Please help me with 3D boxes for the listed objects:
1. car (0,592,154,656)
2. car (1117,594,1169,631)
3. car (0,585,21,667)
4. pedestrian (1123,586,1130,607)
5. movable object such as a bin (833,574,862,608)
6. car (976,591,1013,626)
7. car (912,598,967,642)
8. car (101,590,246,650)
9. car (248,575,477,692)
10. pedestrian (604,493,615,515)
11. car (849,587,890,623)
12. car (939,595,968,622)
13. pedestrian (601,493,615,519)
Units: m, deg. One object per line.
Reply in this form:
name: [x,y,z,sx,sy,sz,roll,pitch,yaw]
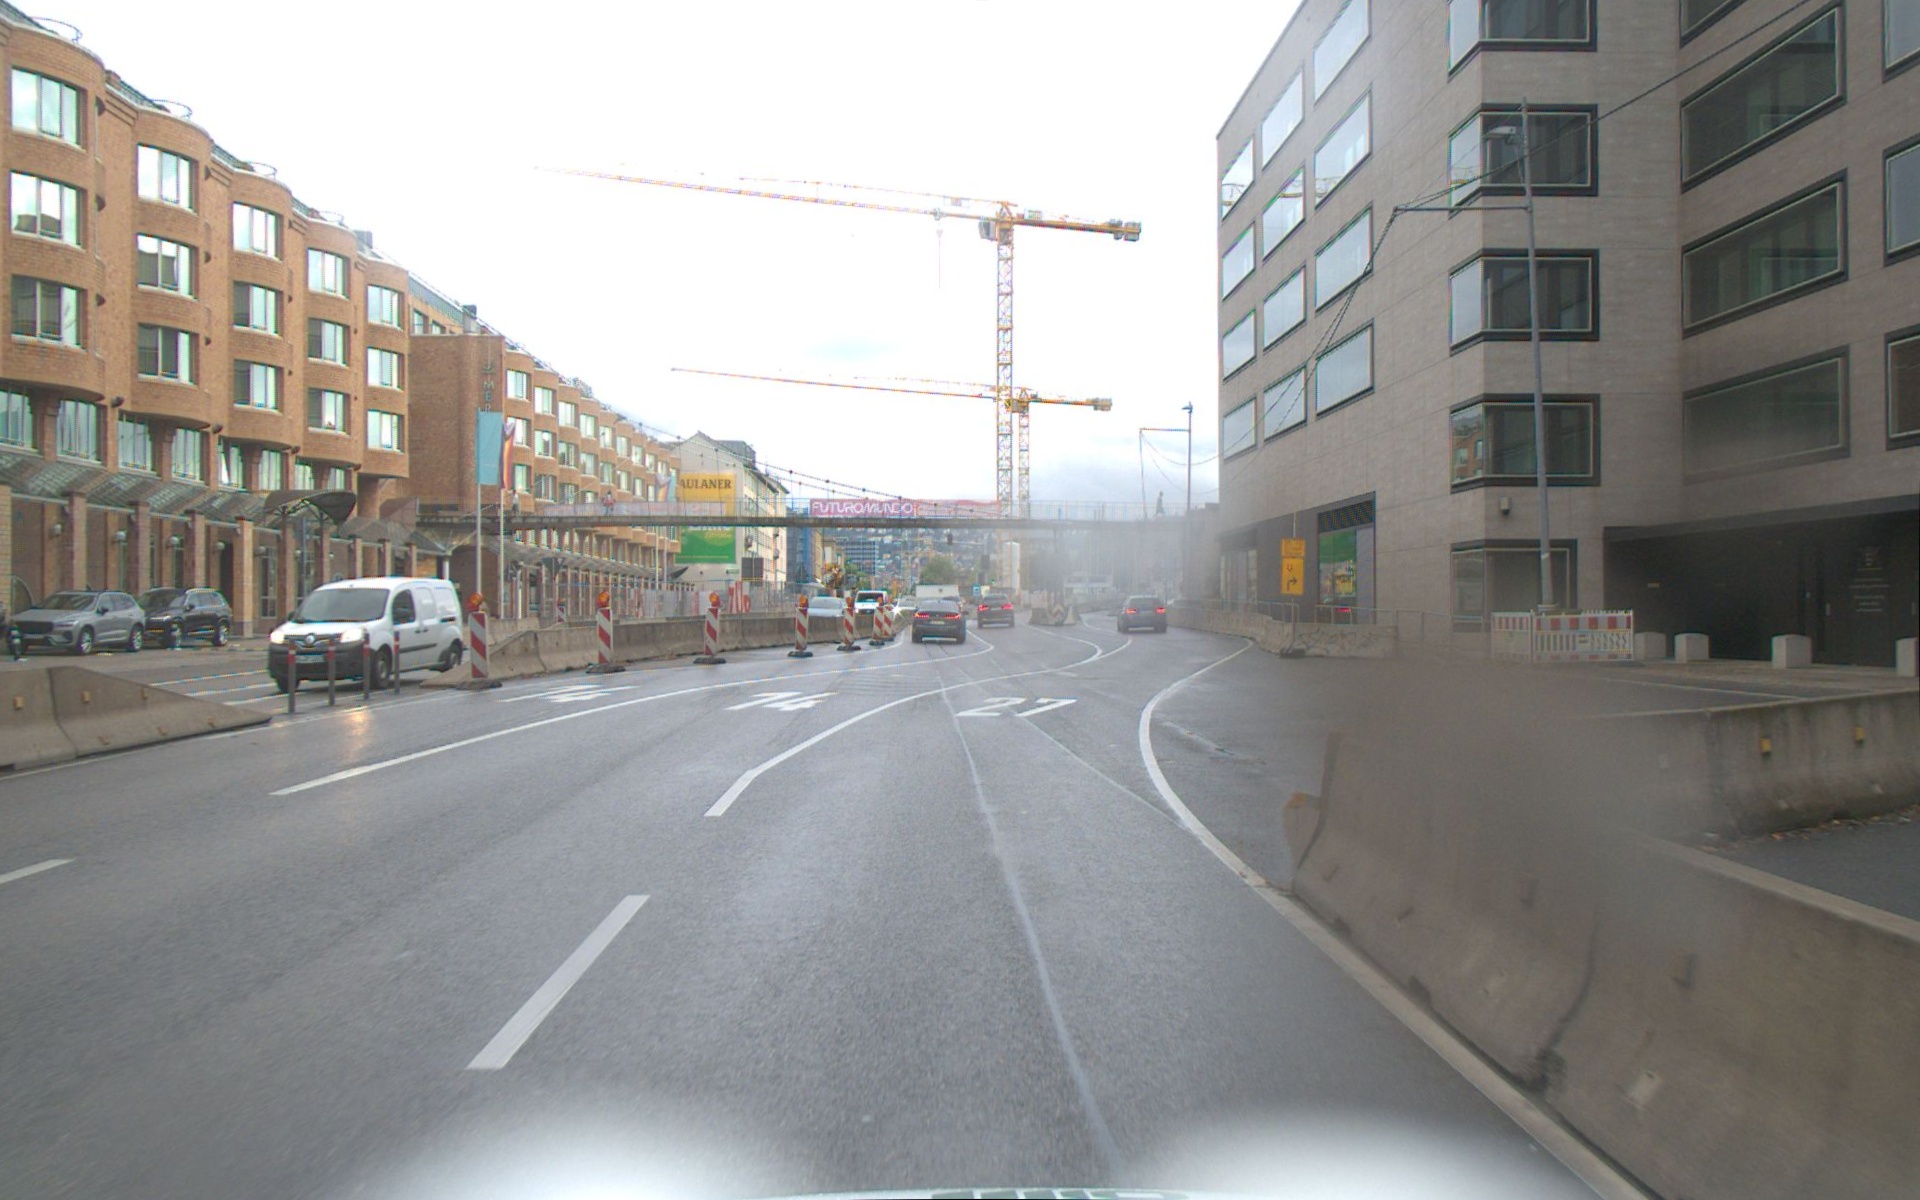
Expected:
car: [-23.506,0.595,44.156,1.954,1.621,4.537,0,0,-4]
car: [7.362,0.484,67.035,1.824,1.458,4.658,0,0,3]
car: [-23.329,0.620,37.052,1.954,1.919,5.010,0,0,-3]
pedestrian: [16.382,-0.357,162.928,0.613,2.049,0.664,0,0,11]
movable object such as a bin: [-8.196,-0.633,120.511,1.987,2.317,4.289,-4,0,-4]
car: [1.751,0.412,83.554,1.824,1.690,4.657,0,0,1]
car: [-0.689,0.655,57.392,1.825,1.468,4.656,0,0,0]
car: [-23.686,0.562,50.058,1.952,1.720,5.050,0,0,0]
car: [-10.028,0.518,28.203,1.846,1.814,4.879,0,0,4]
pedestrian: [-19.968,-5.438,94.167,0.465,1.215,0.484,-1,0,2]
car: [-4.976,0.270,91.596,1.952,1.918,4.870,0,0,0]
car: [-0.464,0.564,113.609,1.825,1.796,4.654,0,0,-2]
pedestrian: [-20.021,-5.346,94.170,0.607,1.477,0.618,-1,0,2]
